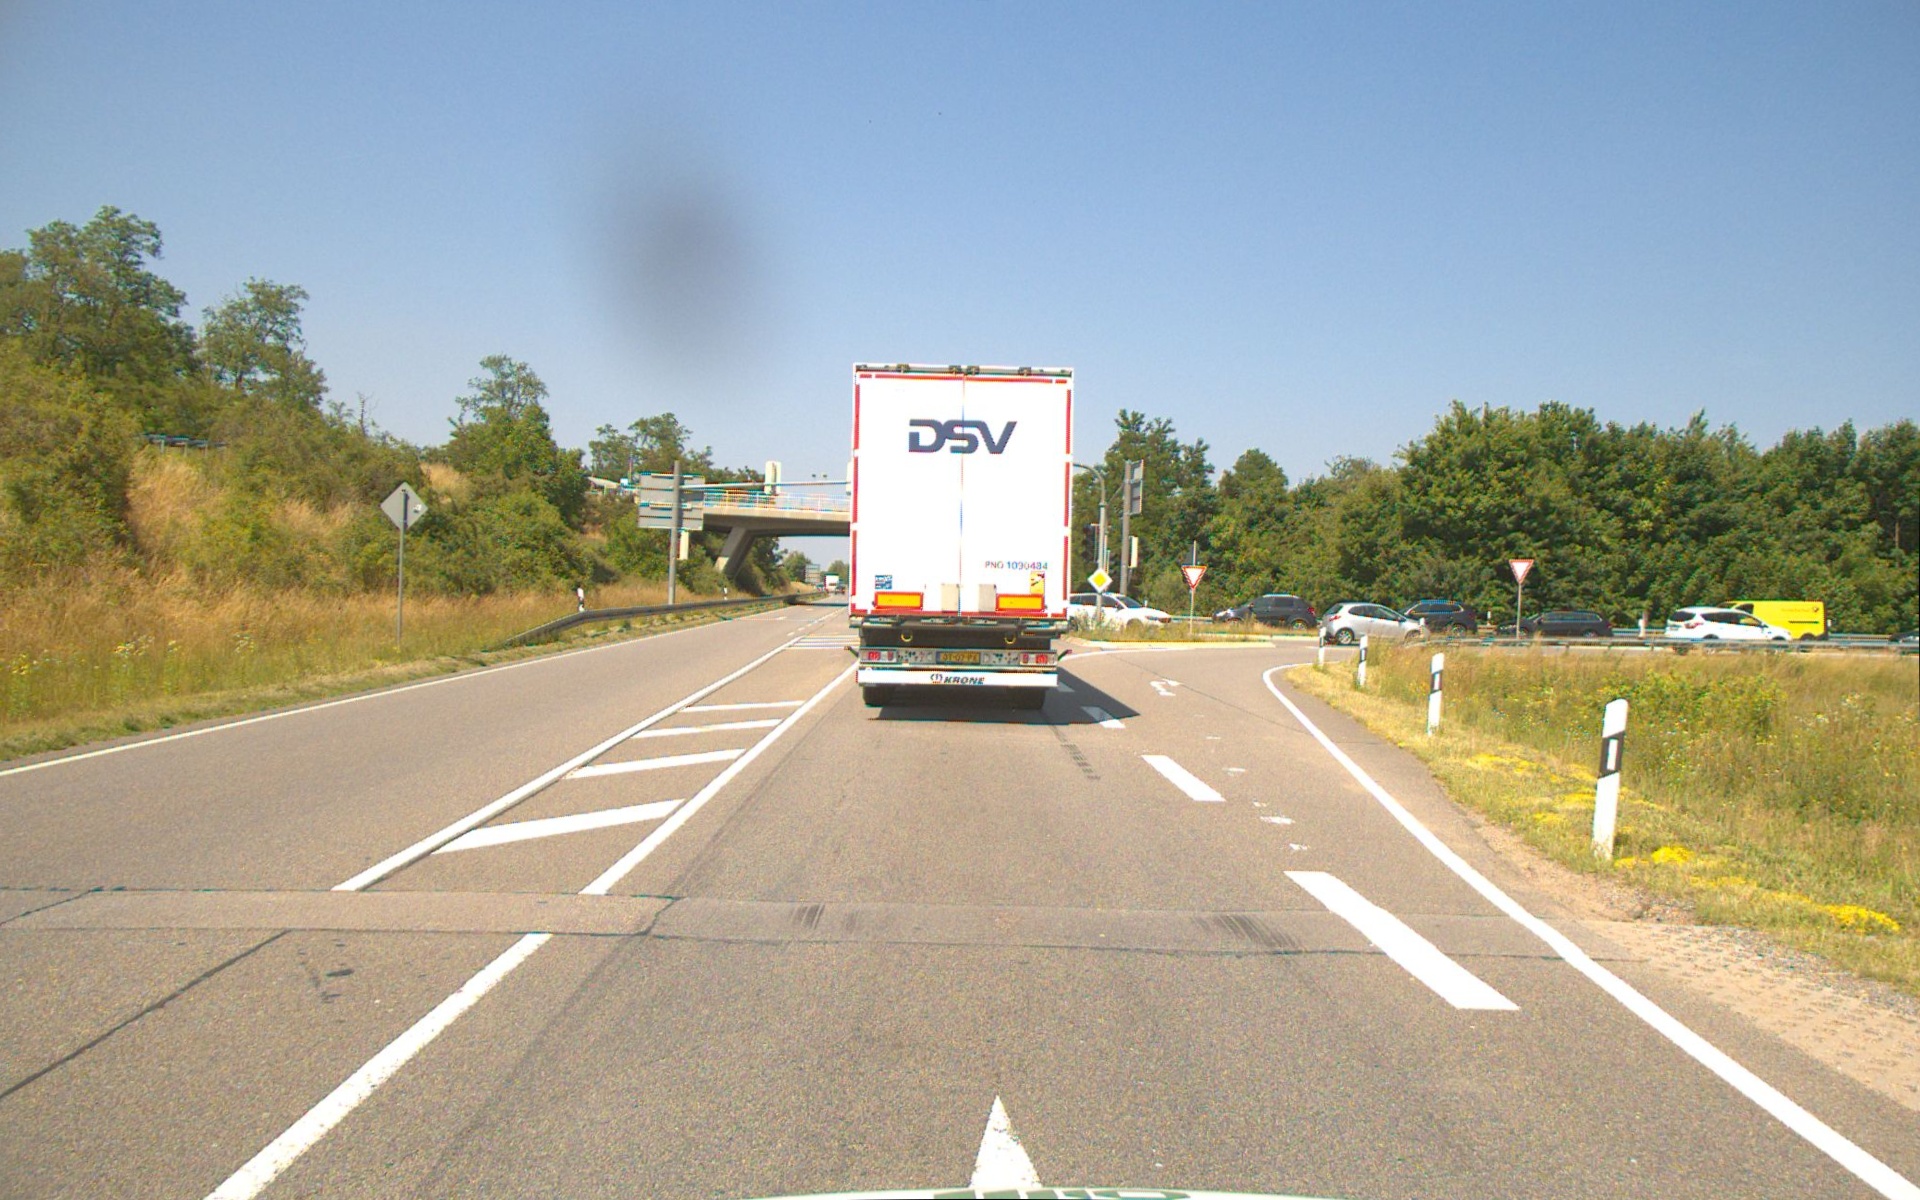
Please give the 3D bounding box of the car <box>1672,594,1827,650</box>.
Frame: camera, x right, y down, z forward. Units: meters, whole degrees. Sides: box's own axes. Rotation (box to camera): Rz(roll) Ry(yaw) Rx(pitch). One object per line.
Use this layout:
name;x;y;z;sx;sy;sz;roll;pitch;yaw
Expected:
car;31.398;0.866;65.862;5.212;2.049;2.000;1;0;1

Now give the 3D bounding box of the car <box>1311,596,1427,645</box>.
car;14.231;0.719;57.620;3.606;1.594;1.739;1;0;0

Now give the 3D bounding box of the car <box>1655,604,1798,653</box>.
car;27.122;1.008;58.583;4.386;1.594;1.736;1;0;-9

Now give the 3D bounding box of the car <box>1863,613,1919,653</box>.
car;38.807;1.349;65.960;4.585;1.540;1.854;1;0;2

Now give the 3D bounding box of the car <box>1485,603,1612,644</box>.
car;24.002;0.971;67.631;4.583;1.540;1.854;1;0;7

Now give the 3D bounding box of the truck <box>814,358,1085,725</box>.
truck;-0.175;-0.648;23.316;2.927;4.011;9.874;1;0;-1

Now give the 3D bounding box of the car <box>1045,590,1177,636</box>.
car;5.398;0.466;59.138;4.384;1.594;1.736;0;0;29

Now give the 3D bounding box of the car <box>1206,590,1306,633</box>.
car;12.167;0.488;68.226;3.901;1.668;1.842;1;0;5

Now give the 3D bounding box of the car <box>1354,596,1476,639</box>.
car;18.191;0.695;66.214;4.393;1.626;1.768;1;0;2
